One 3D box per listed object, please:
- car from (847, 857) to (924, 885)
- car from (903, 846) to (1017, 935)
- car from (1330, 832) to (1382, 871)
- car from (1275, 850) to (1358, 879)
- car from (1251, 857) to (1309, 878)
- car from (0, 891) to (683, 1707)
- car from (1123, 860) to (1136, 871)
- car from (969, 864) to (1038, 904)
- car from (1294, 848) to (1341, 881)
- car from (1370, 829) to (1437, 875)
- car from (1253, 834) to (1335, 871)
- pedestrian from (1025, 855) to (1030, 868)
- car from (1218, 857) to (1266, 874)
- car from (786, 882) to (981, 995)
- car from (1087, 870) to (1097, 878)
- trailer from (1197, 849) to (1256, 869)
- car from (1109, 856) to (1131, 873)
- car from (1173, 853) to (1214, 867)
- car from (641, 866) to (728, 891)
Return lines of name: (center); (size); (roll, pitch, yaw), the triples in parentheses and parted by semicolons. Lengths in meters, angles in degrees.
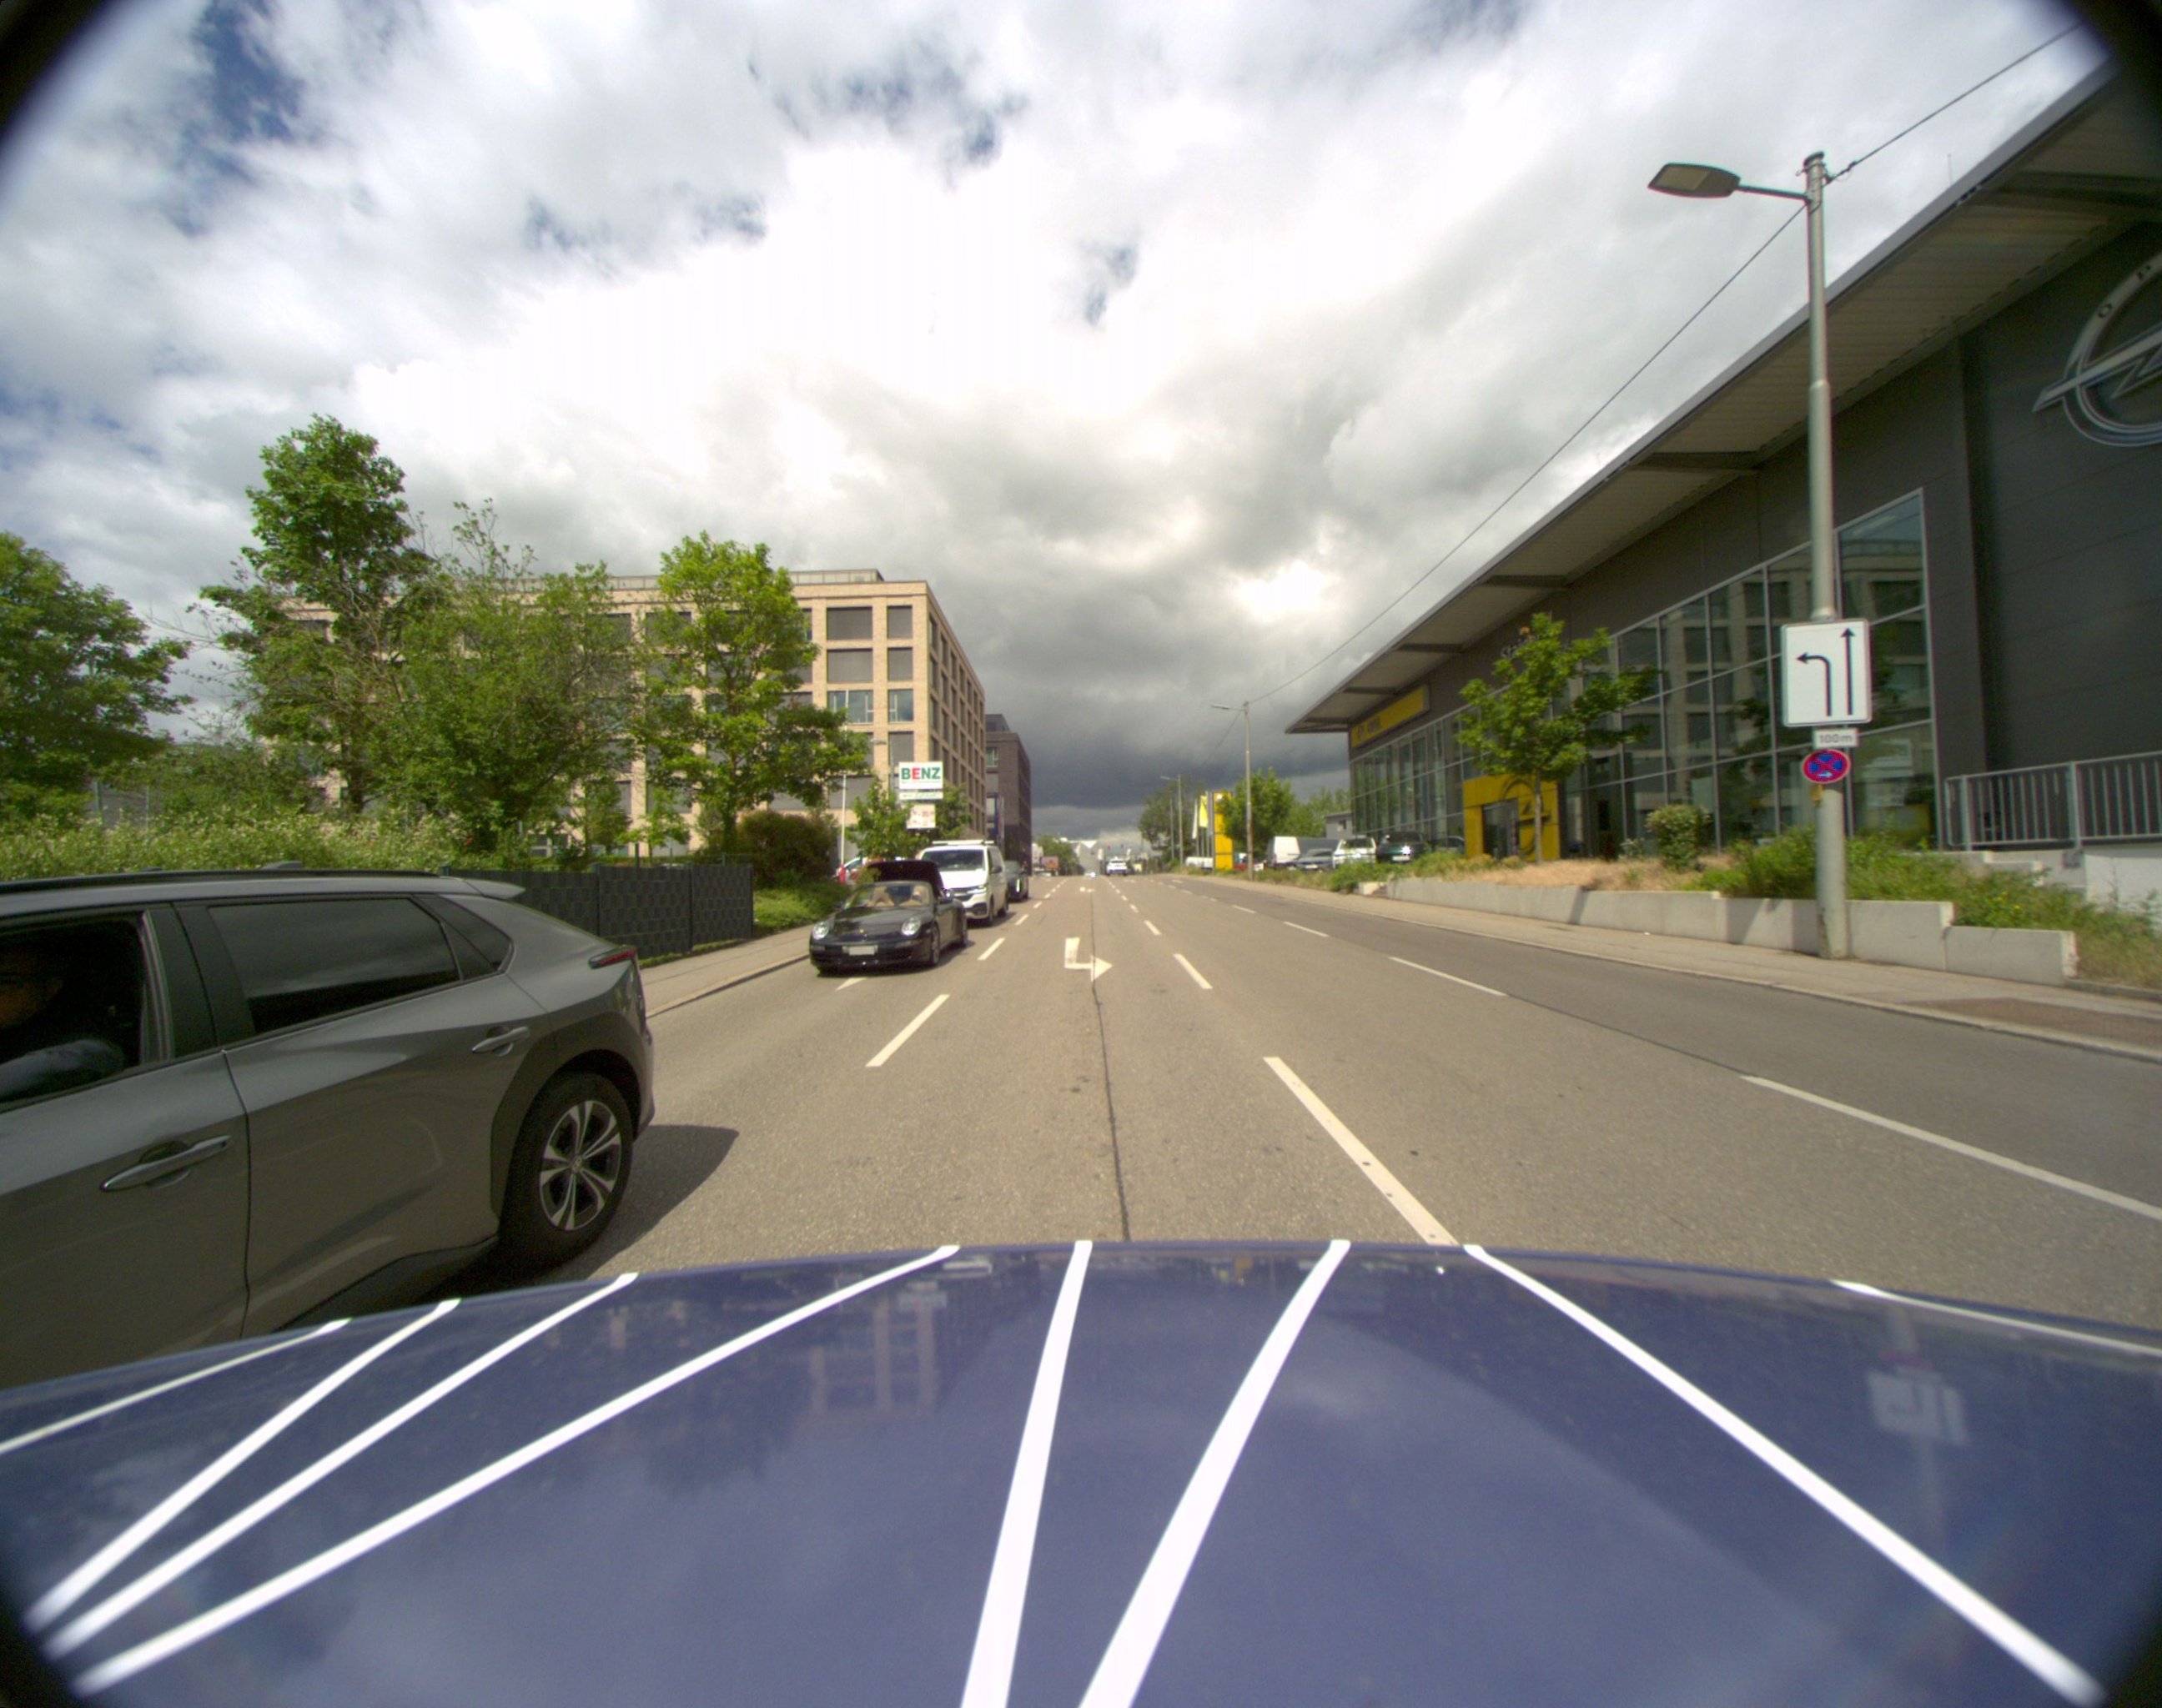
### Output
car: (-11.624, 1.007, 45.369); (4.220, 1.567, 1.735); (-1, 0, -4)
car: (-2.836, 0.805, 18.942); (1.964, 1.840, 4.645); (-3, 0, 1)
car: (12.237, -0.107, 33.655); (1.793, 1.604, 4.115); (-1, 1, 25)
car: (13.325, 0.582, 43.017); (4.108, 1.604, 1.797); (-1, 0, -8)
car: (14.950, 1.033, 57.290); (3.946, 1.518, 1.561); (-1, 0, -2)
car: (-2.964, 1.017, 1.359); (1.924, 1.604, 4.683); (-3, 0, 1)
car: (7.342, 1.690, 115.444); (1.762, 1.513, 3.960); (-1, 0, 7)
car: (-2.785, 1.053, 28.200); (1.777, 1.267, 4.569); (-1, 0, 4)
car: (12.208, 0.522, 39.077); (1.794, 1.604, 4.116); (-1, 0, 24)
car: (12.202, -0.047, 28.635); (1.817, 1.603, 4.117); (-1, 0, 30)
car: (13.375, -0.095, 47.856); (4.533, 2.182, 2.178); (-1, 1, -4)
pedestrian: (-6.090, 0.879, 86.498); (0.578, 1.497, 0.542); (-1, 1, 1)
car: (13.694, 0.993, 64.800); (3.669, 1.401, 1.815); (-1, 0, 2)
car: (-2.909, 1.200, 12.296); (1.777, 1.267, 4.569); (-3, 0, 2)
car: (2.119, 3.857, 149.577); (1.866, 1.398, 4.000); (-1, 0, 1)
trailer: (13.131, 0.485, 68.755); (4.835, 1.742, 2.095); (-1, 0, -3)
car: (3.713, 0.989, 72.481); (1.924, 1.604, 4.416); (0, 0, 1)
car: (12.505, 0.620, 84.447); (4.252, 1.473, 2.095); (-1, 0, -2)
car: (-23.389, 1.428, 44.937); (4.219, 1.410, 1.735); (-1, 0, -1)
